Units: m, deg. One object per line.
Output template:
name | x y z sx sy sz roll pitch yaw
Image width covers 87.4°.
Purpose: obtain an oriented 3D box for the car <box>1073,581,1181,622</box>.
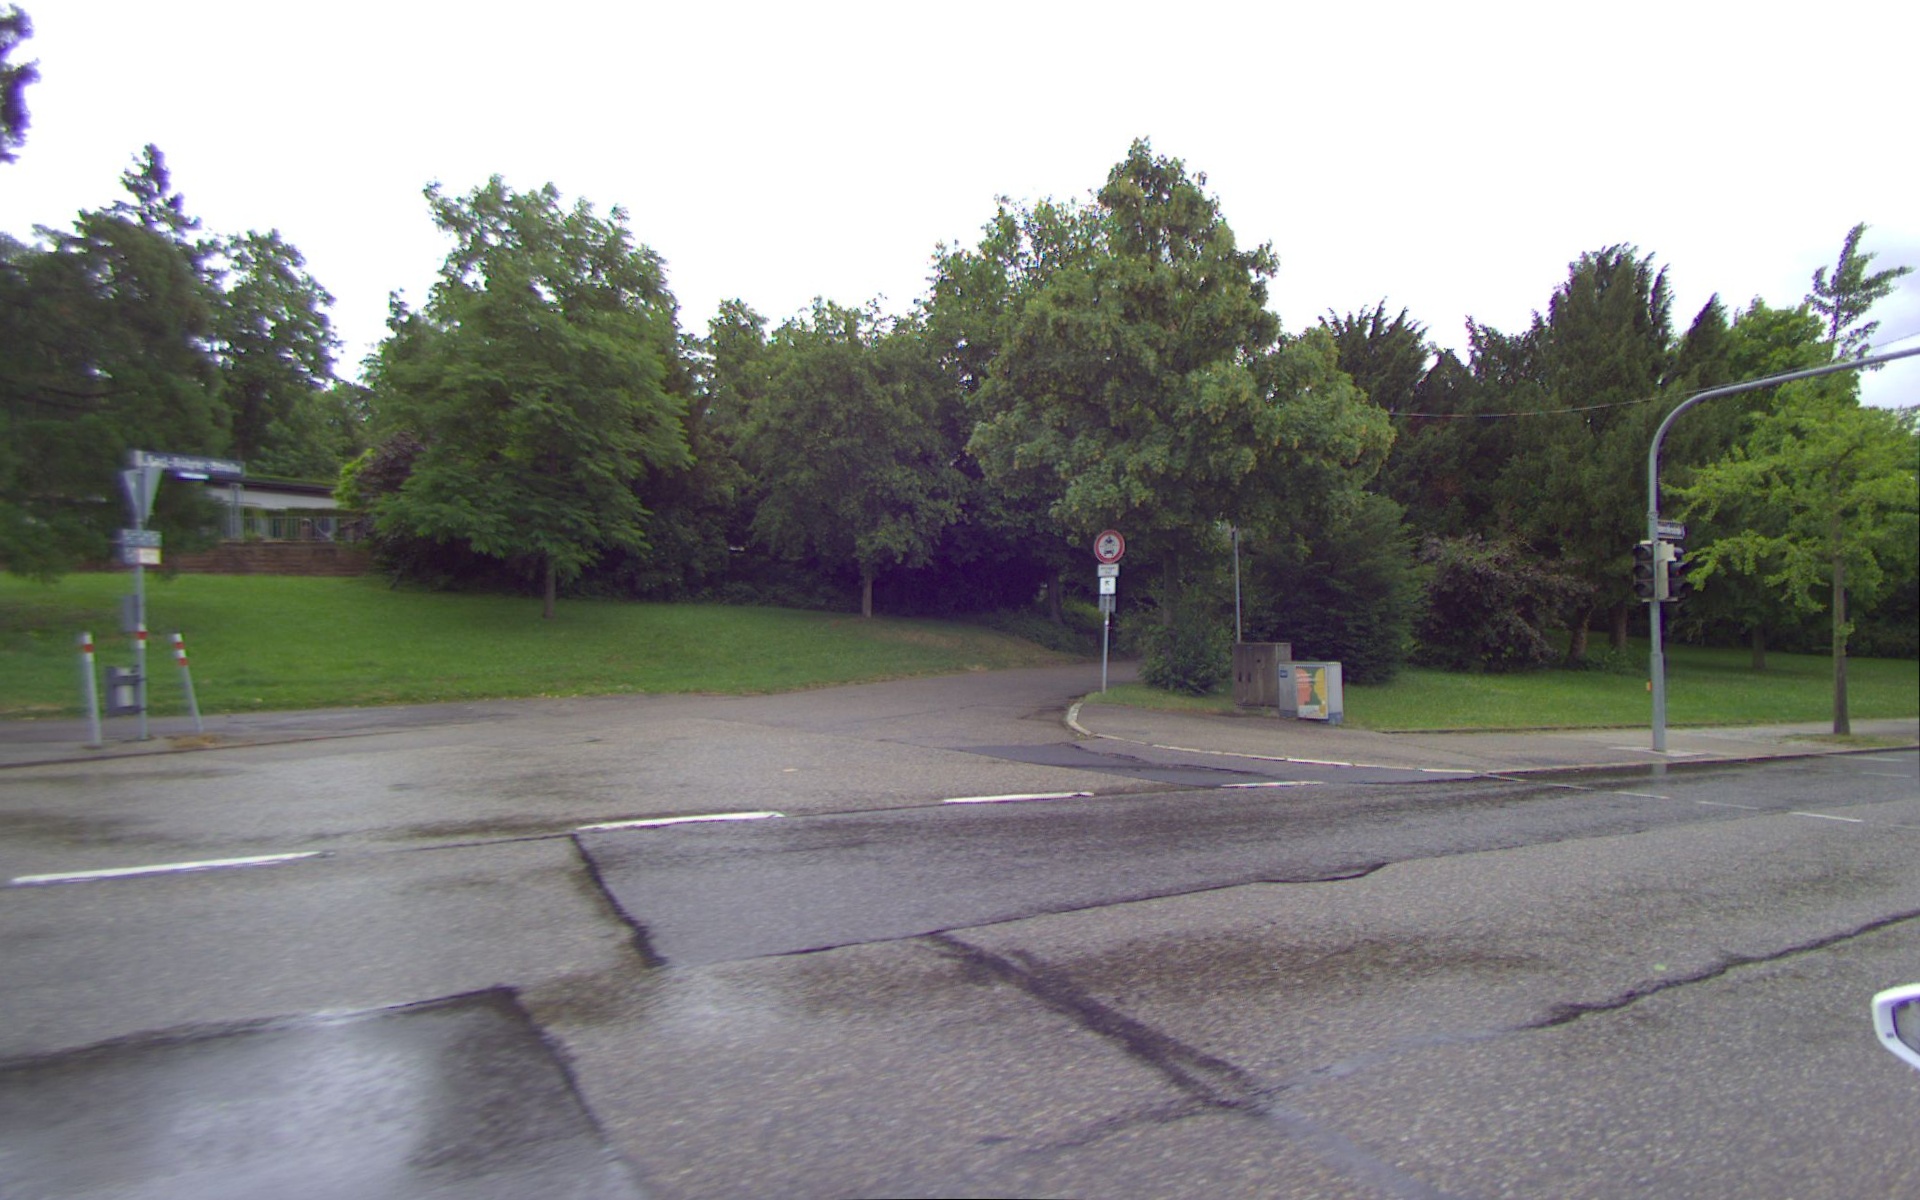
car | 6.724 0.064 40.578 3.849 1.505 1.927 0 -2 39
